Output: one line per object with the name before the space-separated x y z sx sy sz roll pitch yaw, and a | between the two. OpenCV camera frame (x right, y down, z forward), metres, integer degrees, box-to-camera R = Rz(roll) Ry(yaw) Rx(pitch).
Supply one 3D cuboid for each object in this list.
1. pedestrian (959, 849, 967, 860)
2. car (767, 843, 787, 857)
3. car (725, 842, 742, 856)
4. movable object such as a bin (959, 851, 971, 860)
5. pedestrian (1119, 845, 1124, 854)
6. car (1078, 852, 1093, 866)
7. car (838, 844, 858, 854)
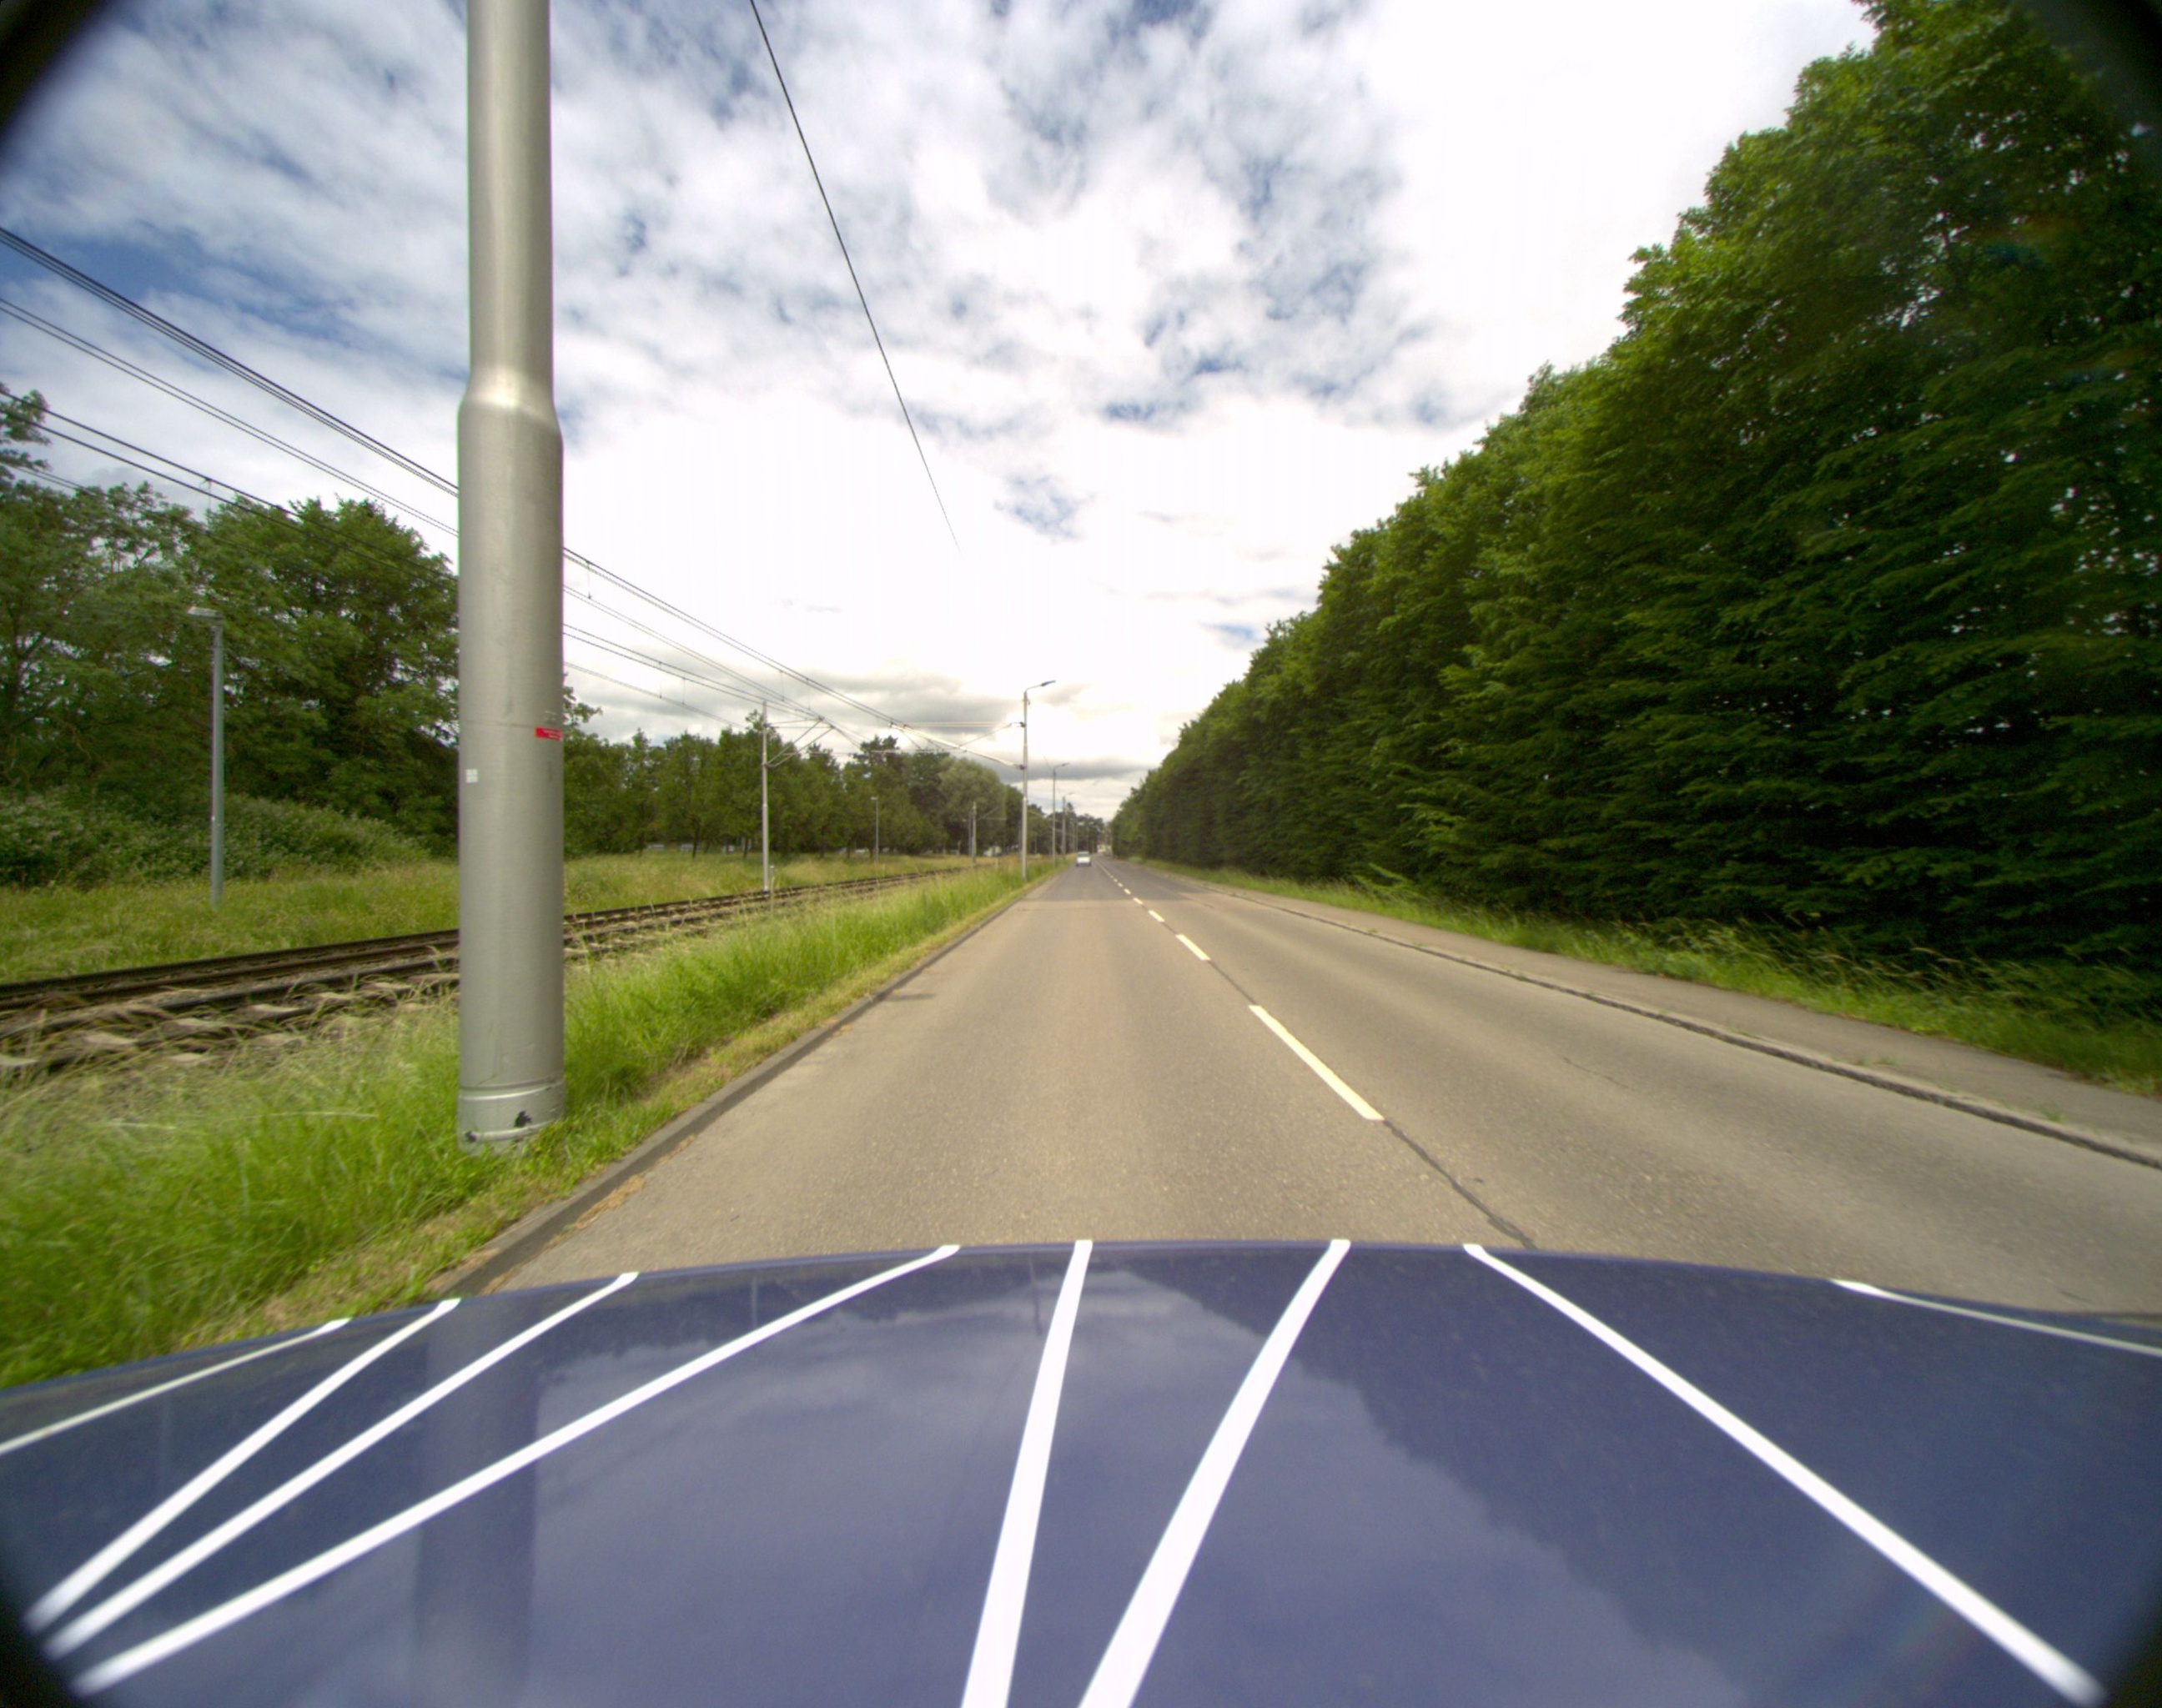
pedestrian | -17.131 0.087 110.299 0.656 1.657 0.960 2 2 42
car | -40.459 -0.552 101.177 1.750 1.793 3.995 0 0 -12
car | -45.926 -0.625 100.341 2.003 1.801 3.991 0 1 -24
movable object such as a bin | -16.927 0.188 110.534 0.658 1.303 1.646 2 2 42
pedestrian | 7.861 -0.896 148.707 0.870 1.759 0.789 0 1 -7
car | 0.483 0.579 86.262 1.734 1.639 4.226 0 -1 0
car | -39.687 -0.850 129.520 1.998 1.690 4.000 -1 1 3
